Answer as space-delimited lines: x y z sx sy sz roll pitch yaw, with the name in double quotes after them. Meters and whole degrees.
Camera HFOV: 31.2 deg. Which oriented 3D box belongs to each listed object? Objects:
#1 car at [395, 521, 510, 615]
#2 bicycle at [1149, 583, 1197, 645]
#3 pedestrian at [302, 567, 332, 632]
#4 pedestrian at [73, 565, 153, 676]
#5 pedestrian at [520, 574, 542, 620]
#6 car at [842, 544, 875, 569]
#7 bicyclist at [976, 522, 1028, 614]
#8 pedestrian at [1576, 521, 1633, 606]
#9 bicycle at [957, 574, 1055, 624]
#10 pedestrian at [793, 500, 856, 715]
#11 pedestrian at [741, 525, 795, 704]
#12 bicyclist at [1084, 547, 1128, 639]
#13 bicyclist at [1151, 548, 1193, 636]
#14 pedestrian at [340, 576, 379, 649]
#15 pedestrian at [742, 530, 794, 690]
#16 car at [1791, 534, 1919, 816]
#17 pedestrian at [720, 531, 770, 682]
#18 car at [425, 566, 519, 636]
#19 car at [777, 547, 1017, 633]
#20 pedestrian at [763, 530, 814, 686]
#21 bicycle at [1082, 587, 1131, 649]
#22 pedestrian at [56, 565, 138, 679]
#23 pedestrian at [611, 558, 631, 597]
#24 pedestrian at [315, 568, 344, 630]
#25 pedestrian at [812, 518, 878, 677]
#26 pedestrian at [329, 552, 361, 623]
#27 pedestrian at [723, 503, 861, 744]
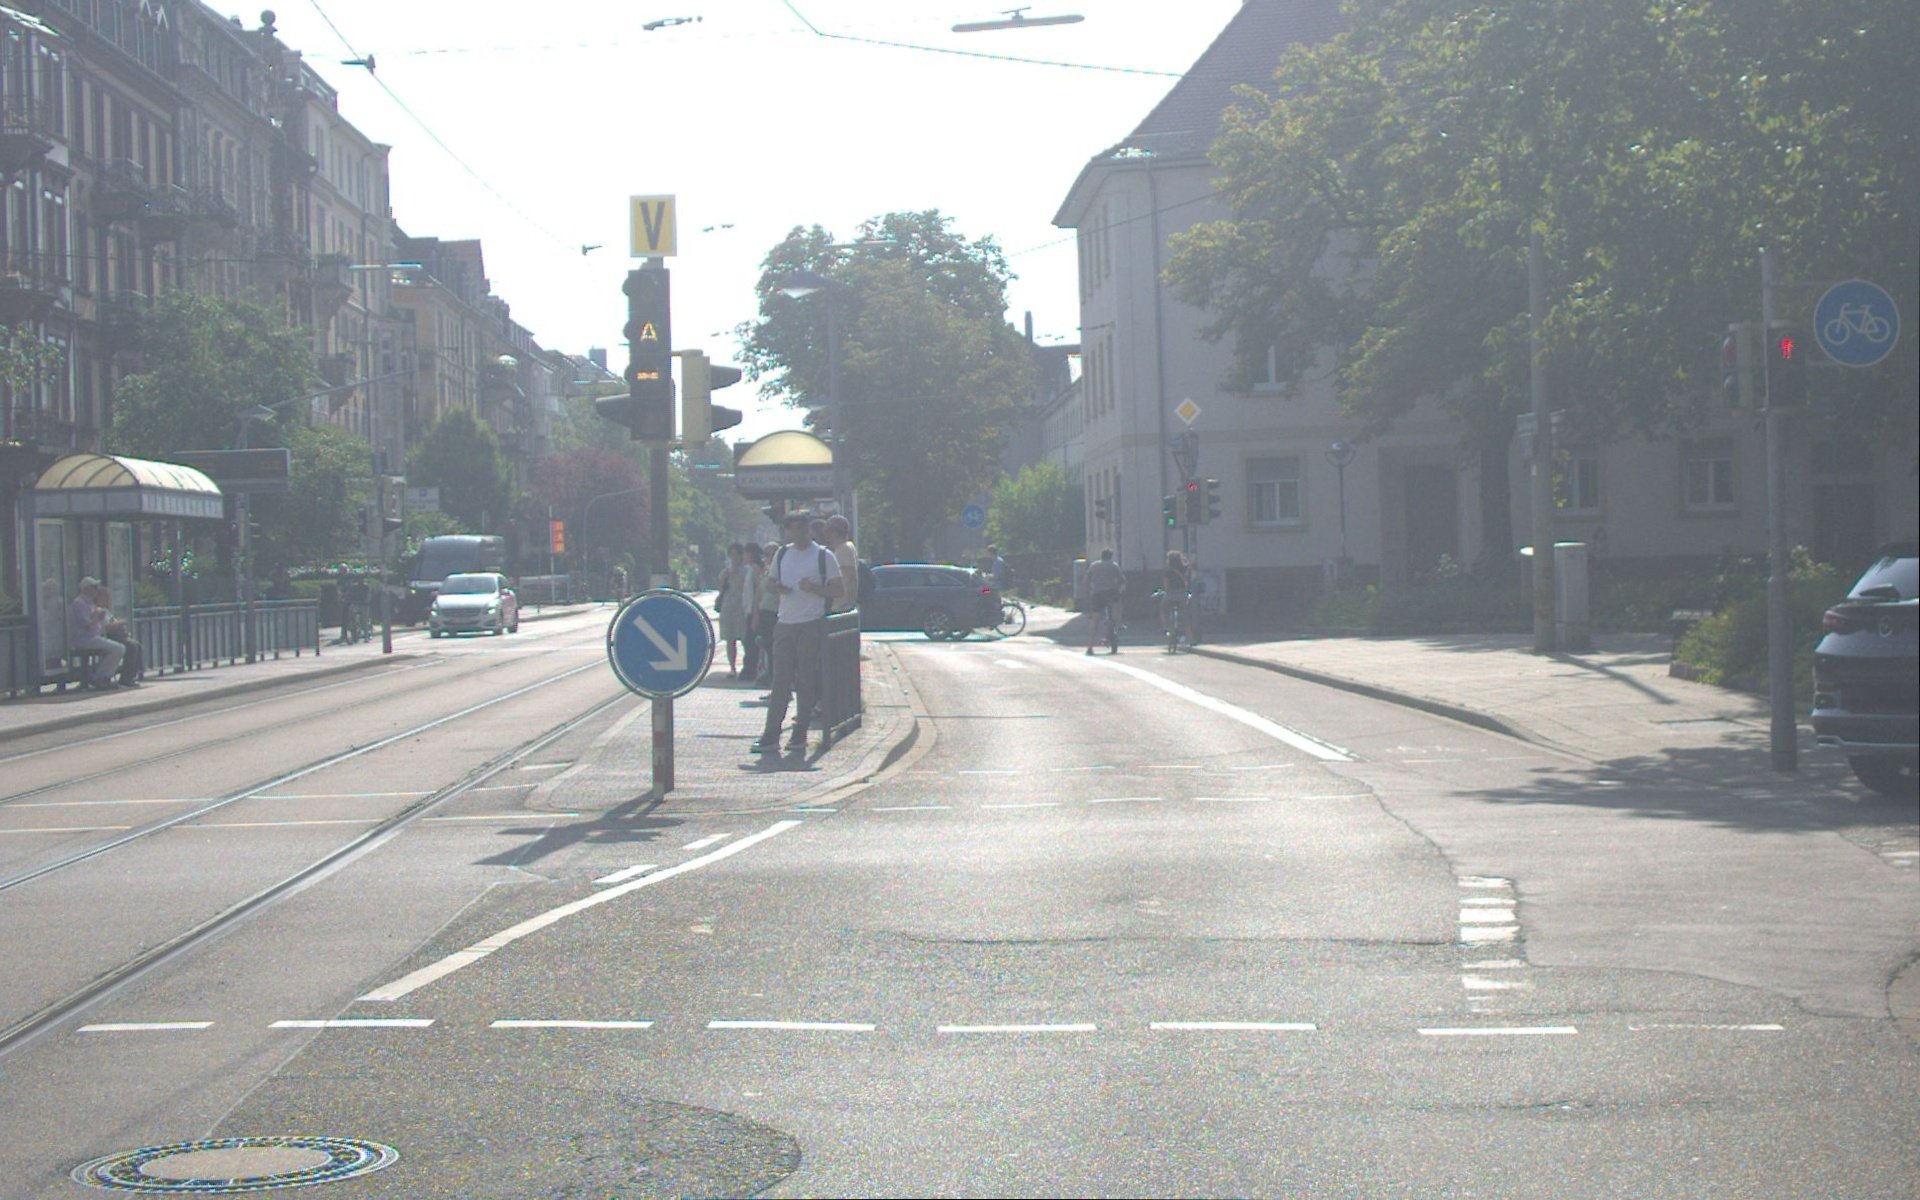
-14.922 -0.950 101.435 2.347 2.653 5.104 -2 1 3 "car"
3.499 0.218 56.624 0.558 0.974 1.856 -2 1 -3 "bicycle"
-17.586 -0.017 94.093 0.750 1.725 0.772 -2 1 -10 "pedestrian"
-10.602 0.254 43.041 0.827 1.354 0.776 -2 1 -5 "pedestrian"
-16.356 -0.103 130.971 0.750 1.725 0.772 -2 1 -10 "pedestrian"
-7.583 -3.255 257.366 1.994 1.777 3.999 0 1 6 "car"
0.872 -0.656 70.426 0.986 1.851 0.493 -2 1 5 "bicyclist"
13.342 -0.756 71.144 0.893 1.734 0.775 -1 1 32 "pedestrian"
0.945 -0.026 70.428 1.936 0.974 0.496 -2 1 5 "bicycle"
-1.169 0.059 29.789 0.504 1.827 0.534 1 3 -1 "pedestrian"
-1.924 0.138 34.486 0.504 1.753 0.534 1 3 -1 "pedestrian"
2.423 -0.126 57.255 0.629 1.502 0.678 -2 1 -3 "bicyclist"
3.482 -0.138 56.633 0.558 1.412 0.872 -2 1 -3 "bicyclist"
-14.479 0.308 82.858 0.750 1.725 0.771 -2 1 1 "pedestrian"
-2.150 0.104 38.493 0.543 1.753 0.534 1 3 -1 "pedestrian"
7.003 0.336 19.833 4.214 1.510 1.612 -2 2 -26 "car"
-2.548 0.076 40.717 0.532 1.753 0.545 1 3 0 "pedestrian"
-12.235 0.004 86.380 1.801 1.648 3.642 -2 1 0 "car"
-1.238 -0.207 68.166 4.325 1.564 1.998 -1 1 18 "car"
-1.956 0.087 39.304 0.543 1.753 0.534 1 3 -1 "pedestrian"
2.429 0.288 57.262 0.629 0.974 1.770 -2 1 -3 "bicycle"
-10.556 0.264 42.065 0.827 1.354 0.776 -2 1 -5 "pedestrian"
-15.080 -0.989 152.936 0.750 1.725 0.772 -2 1 -10 "pedestrian"
-17.819 -0.043 97.108 0.750 1.725 0.772 -2 1 -10 "pedestrian"
-1.292 -0.033 38.688 0.709 1.753 0.534 1 3 -1 "pedestrian"
-15.222 -0.307 85.109 0.750 1.725 0.772 -2 1 -10 "pedestrian"
-1.242 0.159 25.522 0.701 1.719 0.747 3 4 32 "pedestrian"
